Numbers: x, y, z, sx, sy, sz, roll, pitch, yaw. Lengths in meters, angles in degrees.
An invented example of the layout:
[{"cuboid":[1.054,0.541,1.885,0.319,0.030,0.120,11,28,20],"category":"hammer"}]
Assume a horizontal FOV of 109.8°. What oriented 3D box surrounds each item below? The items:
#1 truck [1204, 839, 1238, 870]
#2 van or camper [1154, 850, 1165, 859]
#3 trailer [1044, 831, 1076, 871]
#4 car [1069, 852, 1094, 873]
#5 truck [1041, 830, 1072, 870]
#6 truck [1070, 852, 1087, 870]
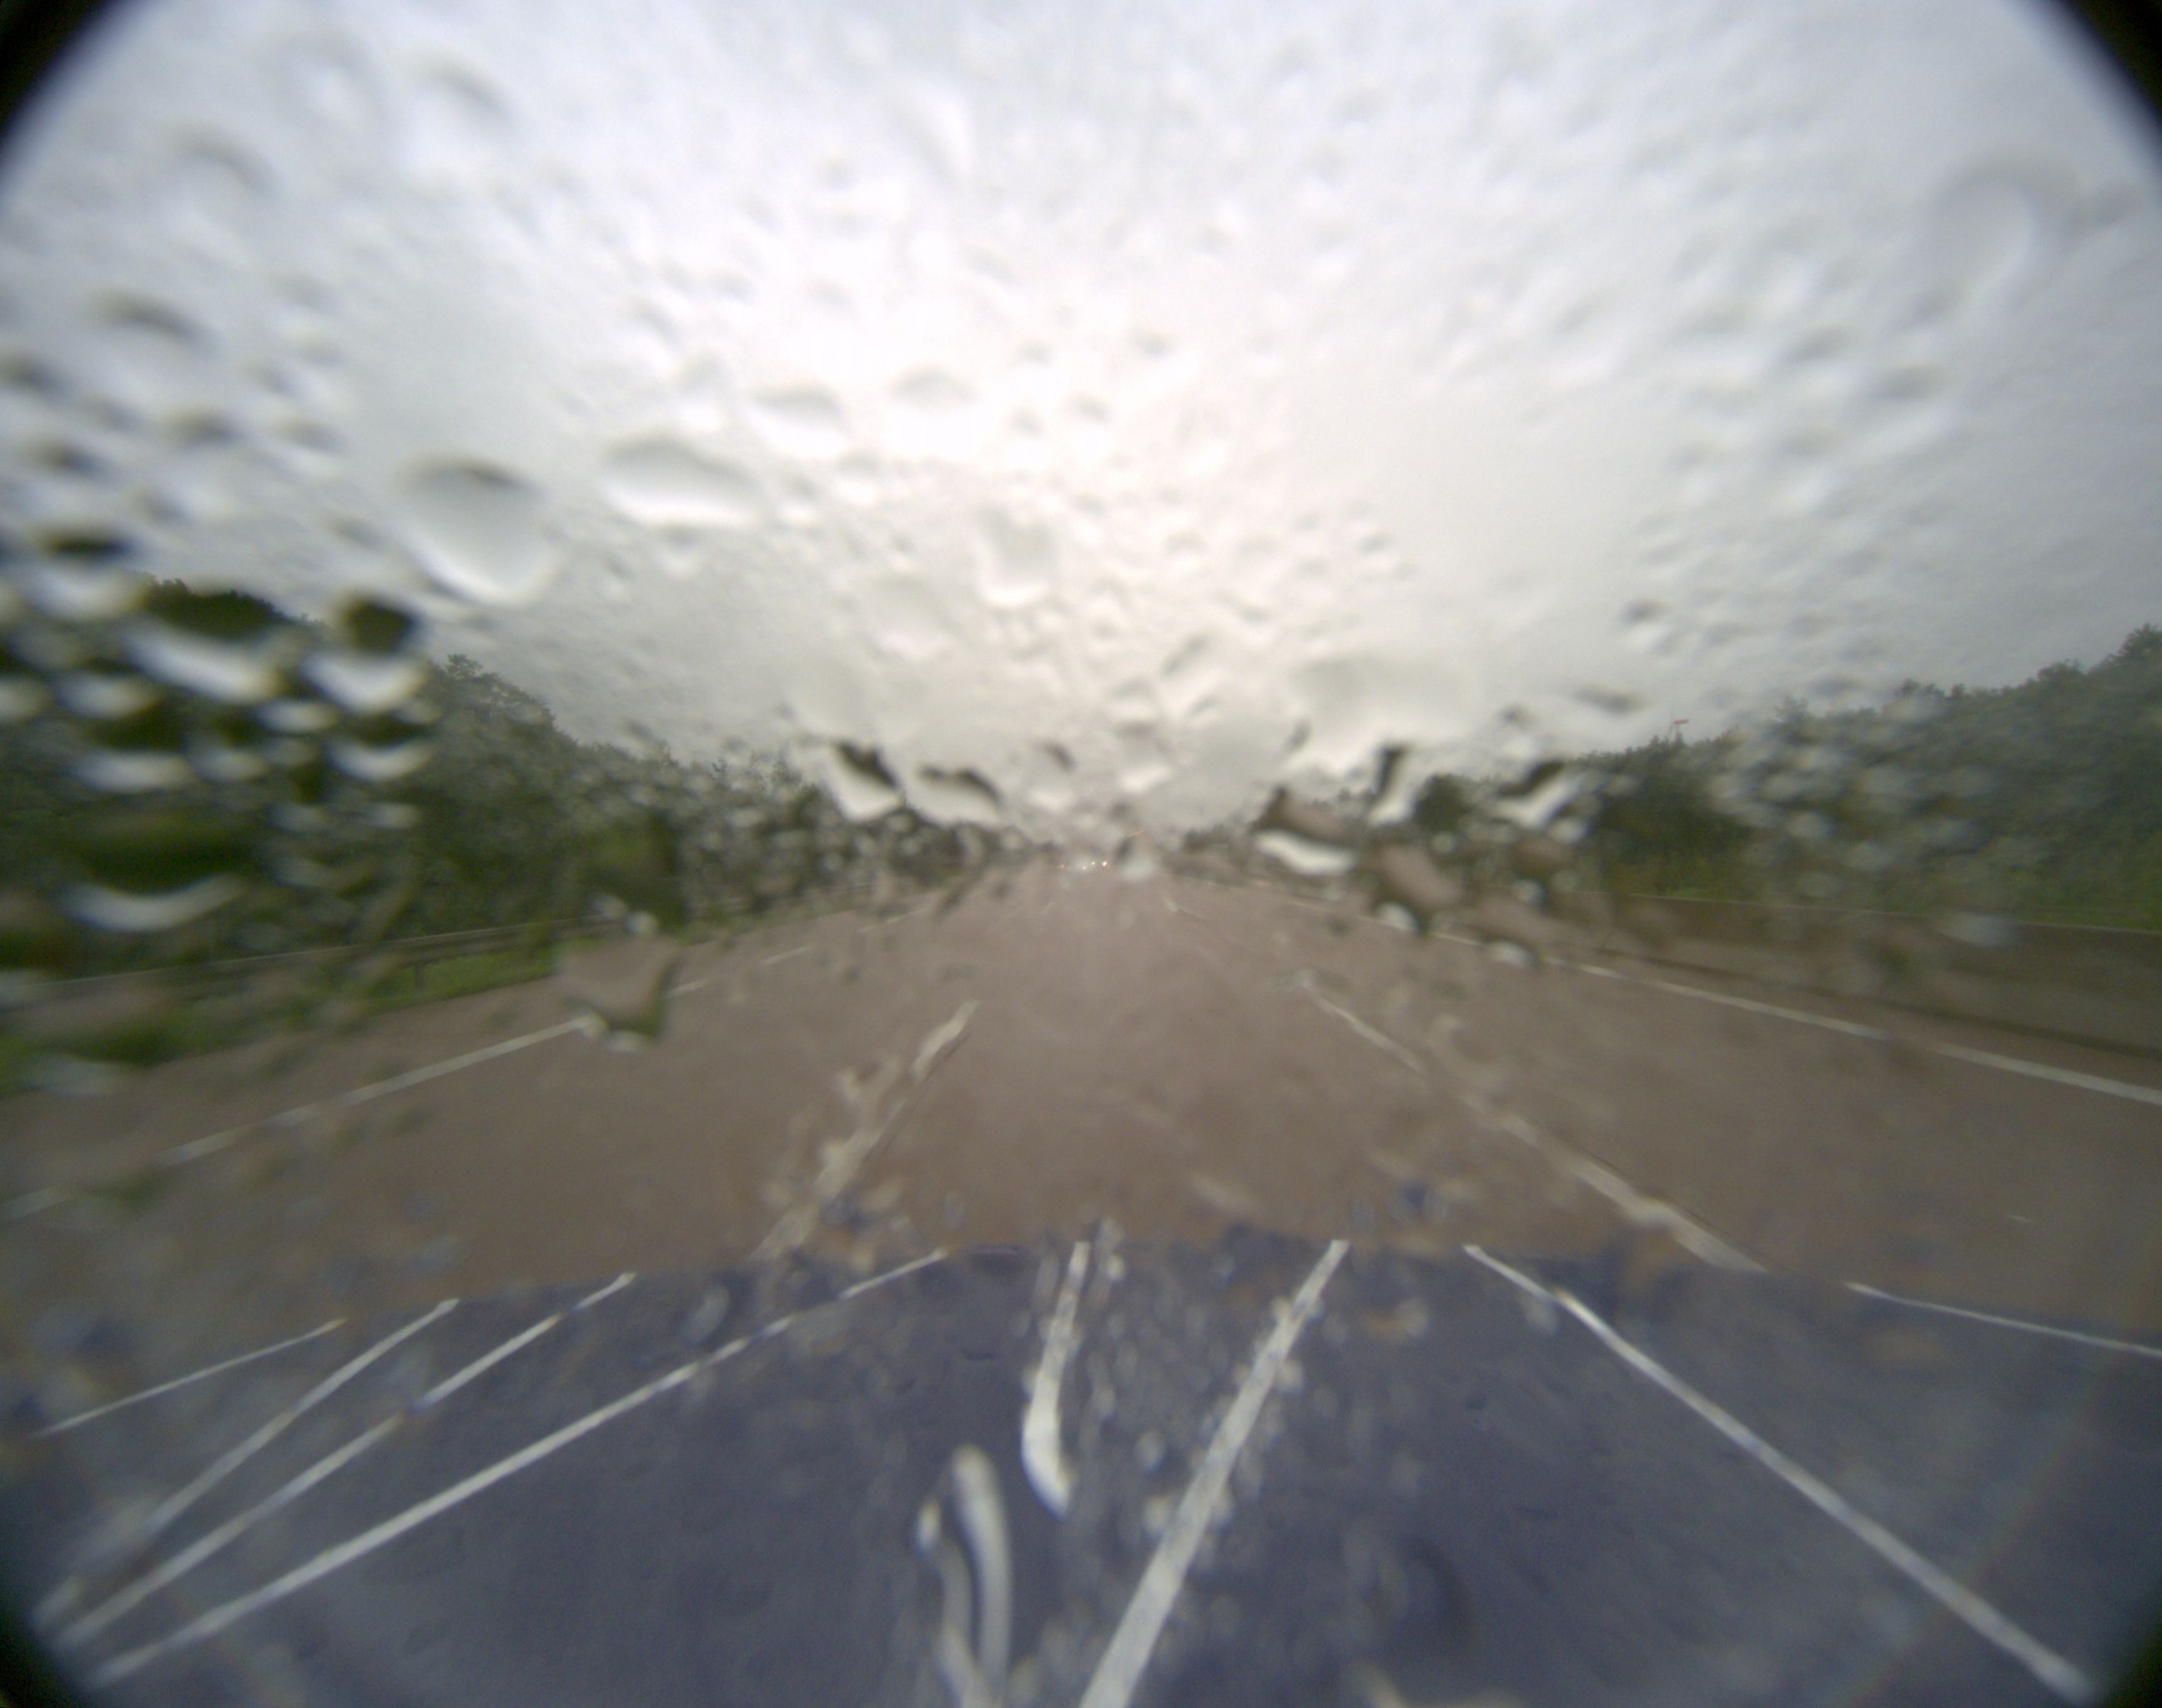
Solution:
[{"cuboid":[21.832,0.125,118.831,3.154,4.446,9.556,-3,0,-1],"category":"truck"},{"cuboid":[19.708,0.014,190.968,2.135,2.192,5.721,-2,0,-1],"category":"van or camper"},{"cuboid":[-2.360,-0.184,89.204,2.859,4.205,13.137,0,-1,2],"category":"trailer"},{"cuboid":[0.067,0.696,65.910,1.812,1.718,4.745,-2,0,3],"category":"car"},{"cuboid":[-2.637,-0.353,82.987,2.887,4.081,6.352,0,-1,2],"category":"truck"},{"cuboid":[-0.497,1.654,169.249,3.242,3.707,7.957,-2,-1,2],"category":"truck"}]
